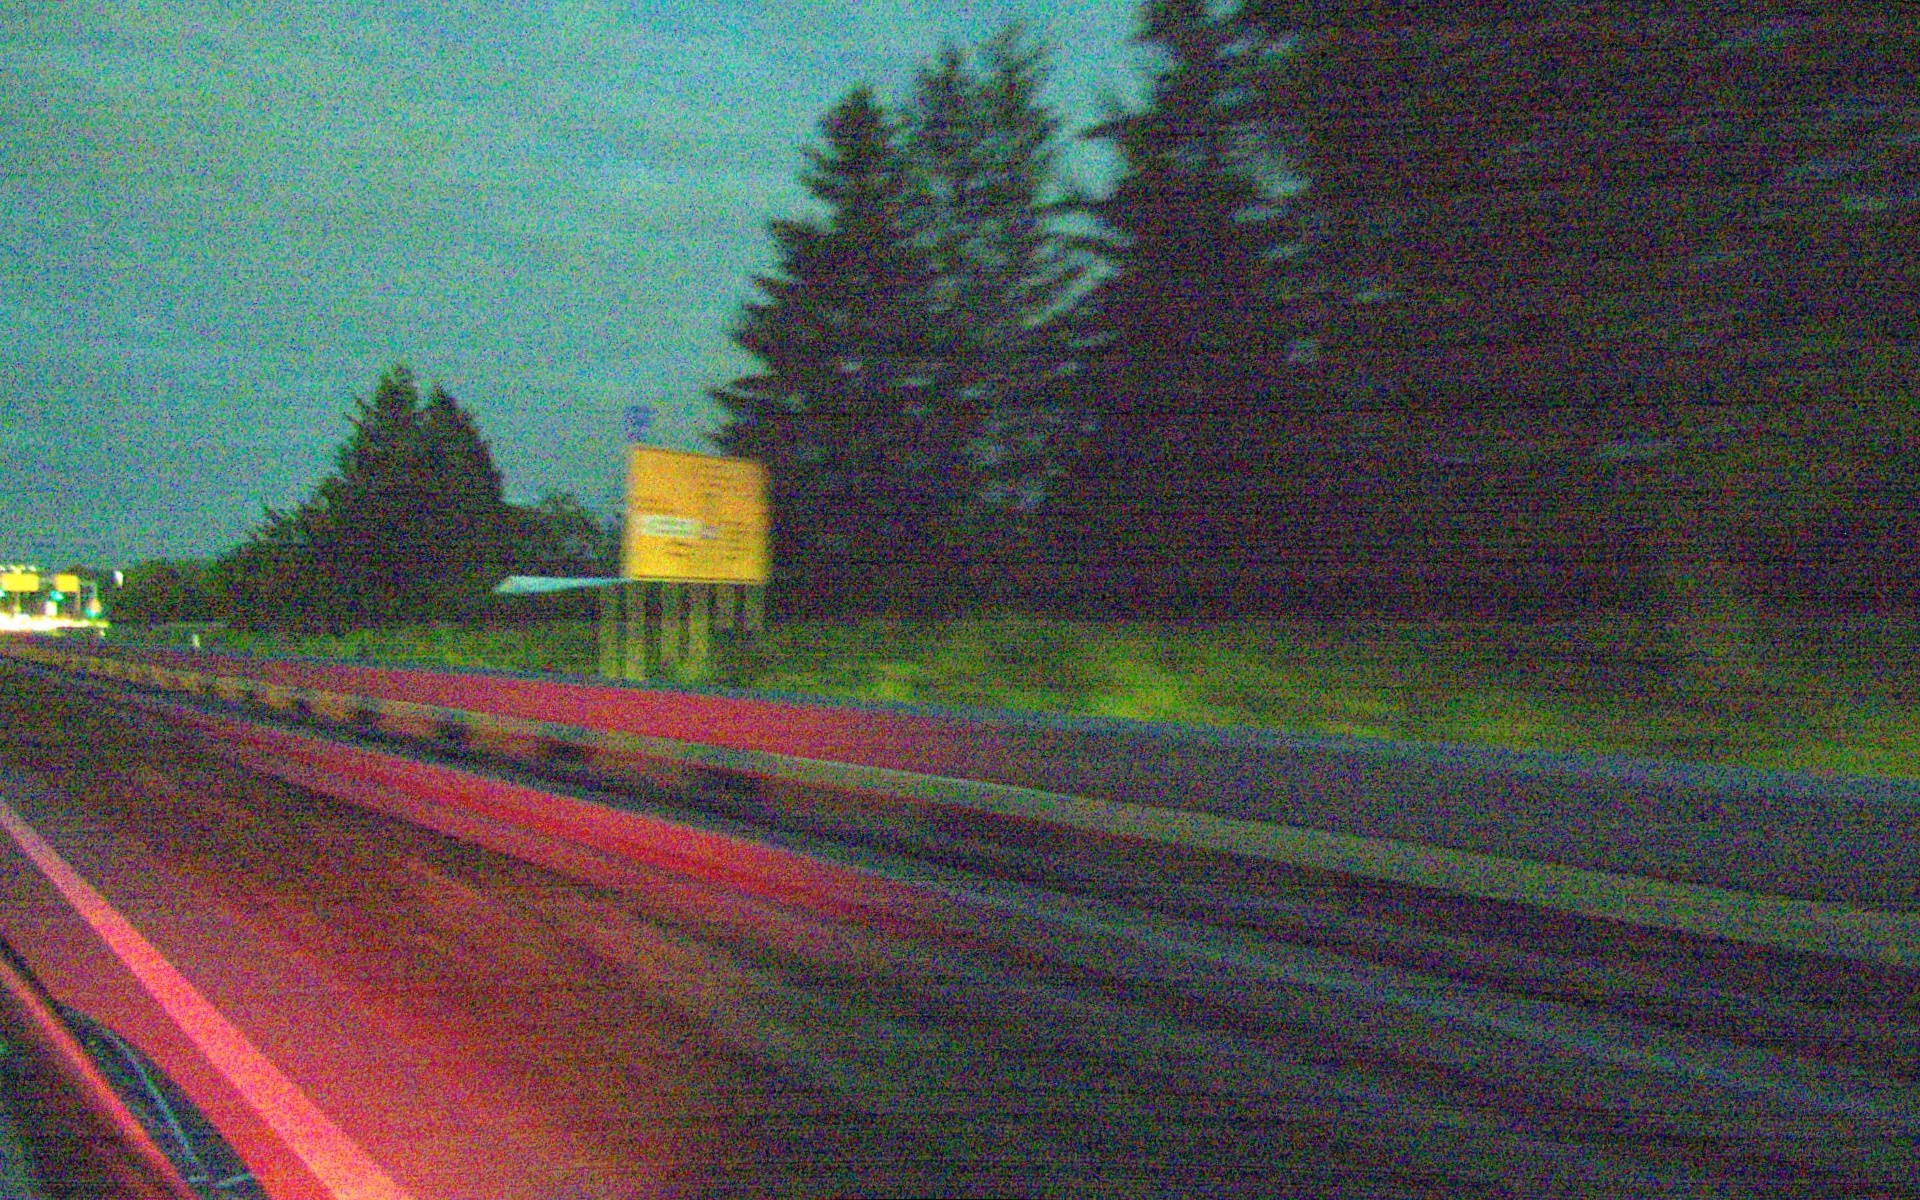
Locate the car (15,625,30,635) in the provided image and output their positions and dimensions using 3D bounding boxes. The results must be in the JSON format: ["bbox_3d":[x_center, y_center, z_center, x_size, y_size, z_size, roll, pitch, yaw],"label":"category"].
[{"bbox_3d":[-154.237,4.935,166.508,1.699,1.458,4.388,0,0,-41],"label":"car"}]

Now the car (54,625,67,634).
[{"bbox_3d":[-168.437,5.556,189.572,1.632,1.487,4.007,0,0,-39],"label":"car"}]
